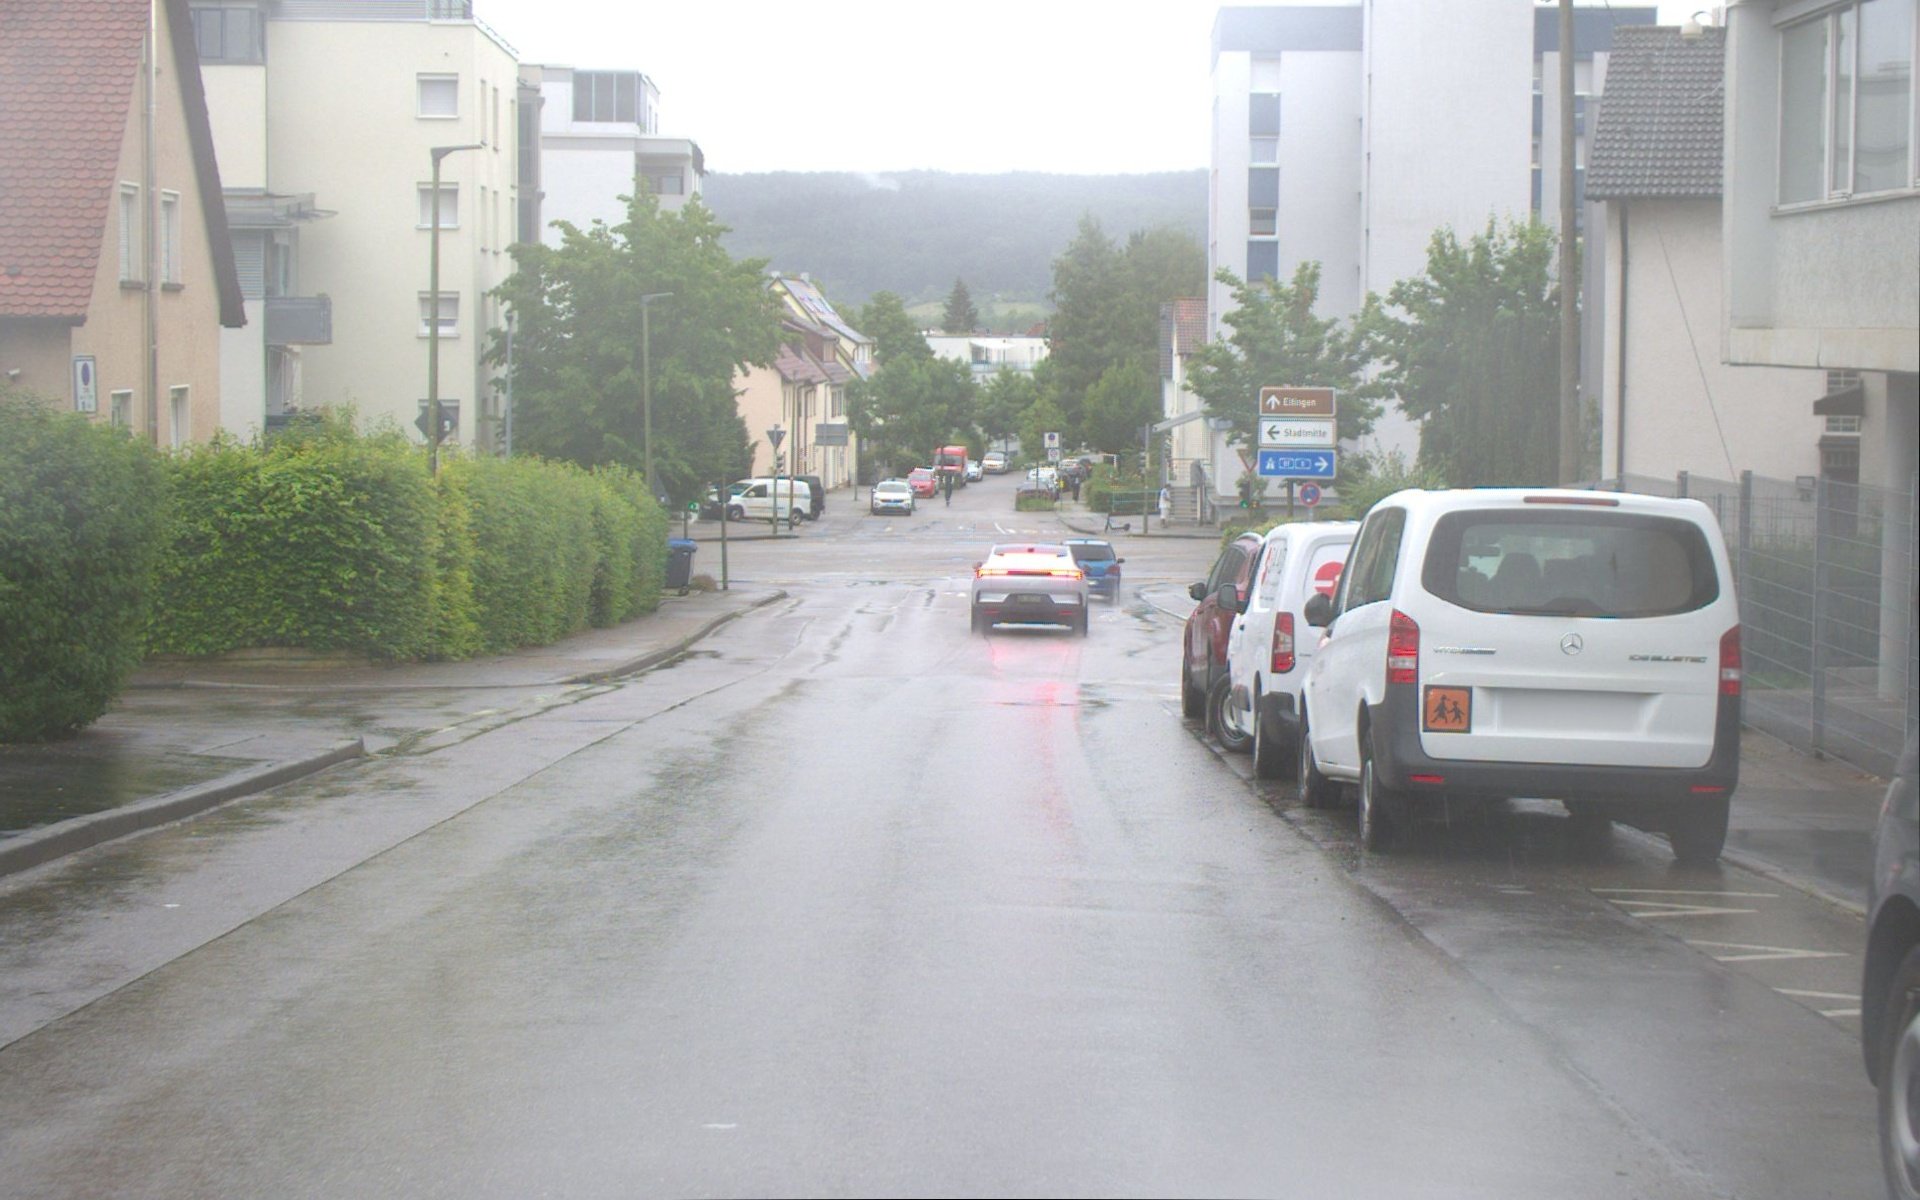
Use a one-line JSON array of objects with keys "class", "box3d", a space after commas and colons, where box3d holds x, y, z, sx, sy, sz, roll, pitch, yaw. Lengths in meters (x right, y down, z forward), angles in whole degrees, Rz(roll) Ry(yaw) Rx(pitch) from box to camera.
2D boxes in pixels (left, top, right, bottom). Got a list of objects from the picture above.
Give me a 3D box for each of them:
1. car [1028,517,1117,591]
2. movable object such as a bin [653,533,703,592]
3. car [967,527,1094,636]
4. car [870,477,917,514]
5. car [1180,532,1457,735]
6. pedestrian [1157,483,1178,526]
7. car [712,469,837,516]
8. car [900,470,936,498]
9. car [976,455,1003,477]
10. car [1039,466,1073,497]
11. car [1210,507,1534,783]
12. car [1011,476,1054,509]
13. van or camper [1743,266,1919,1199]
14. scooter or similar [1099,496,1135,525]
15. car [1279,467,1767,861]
[{"class": "car", "box3d": [2.768, -1.160, 85.323, 1.993, 1.678, 4.001, -1, 3, -1]}, {"class": "movable object such as a bin", "box3d": [-6.688, -0.890, 81.611, 1.071, 1.343, 1.319, 2, 1, -1]}, {"class": "car", "box3d": [1.174, -0.354, 59.126, 1.993, 1.678, 4.001, -1, 3, -1]}, {"class": "car", "box3d": [-3.125, -4.922, 161.819, 1.993, 1.620, 4.192, -1, 3, 1]}, {"class": "car", "box3d": [3.072, 0.223, 30.427, 1.993, 1.638, 4.958, 0, 1, 1]}, {"class": "pedestrian", "box3d": [8.057, -3.712, 133.628, 0.647, 1.641, 0.526, 3, 2, -5]}, {"class": "car", "box3d": [-7.657, -4.458, 142.267, 4.830, 1.829, 2.000, -3, 3, -37]}, {"class": "car", "box3d": [-2.412, -6.707, 198.240, 1.901, 1.553, 4.192, -1, 3, 1]}, {"class": "car", "box3d": [2.153, -9.706, 248.342, 1.901, 1.553, 4.192, -1, 3, 1]}, {"class": "car", "box3d": [5.500, -6.810, 197.359, 1.901, 1.739, 4.192, -1, 3, 1]}, {"class": "car", "box3d": [2.897, 0.253, 25.085, 1.878, 1.827, 4.489, 0, 1, 1]}, {"class": "car", "box3d": [3.707, -5.487, 175.471, 2.146, 1.583, 4.128, -1, 3, 1]}, {"class": "van or camper", "box3d": [2.984, 0.385, 6.097, 1.993, 2.106, 5.203, 0, 2, 0]}, {"class": "scooter or similar", "box3d": [6.044, -3.443, 132.330, 1.268, 1.077, 0.877, -1, 2, -3]}, {"class": "car", "box3d": [3.002, 0.264, 19.419, 1.993, 1.928, 4.976, 0, 1, 1]}]
